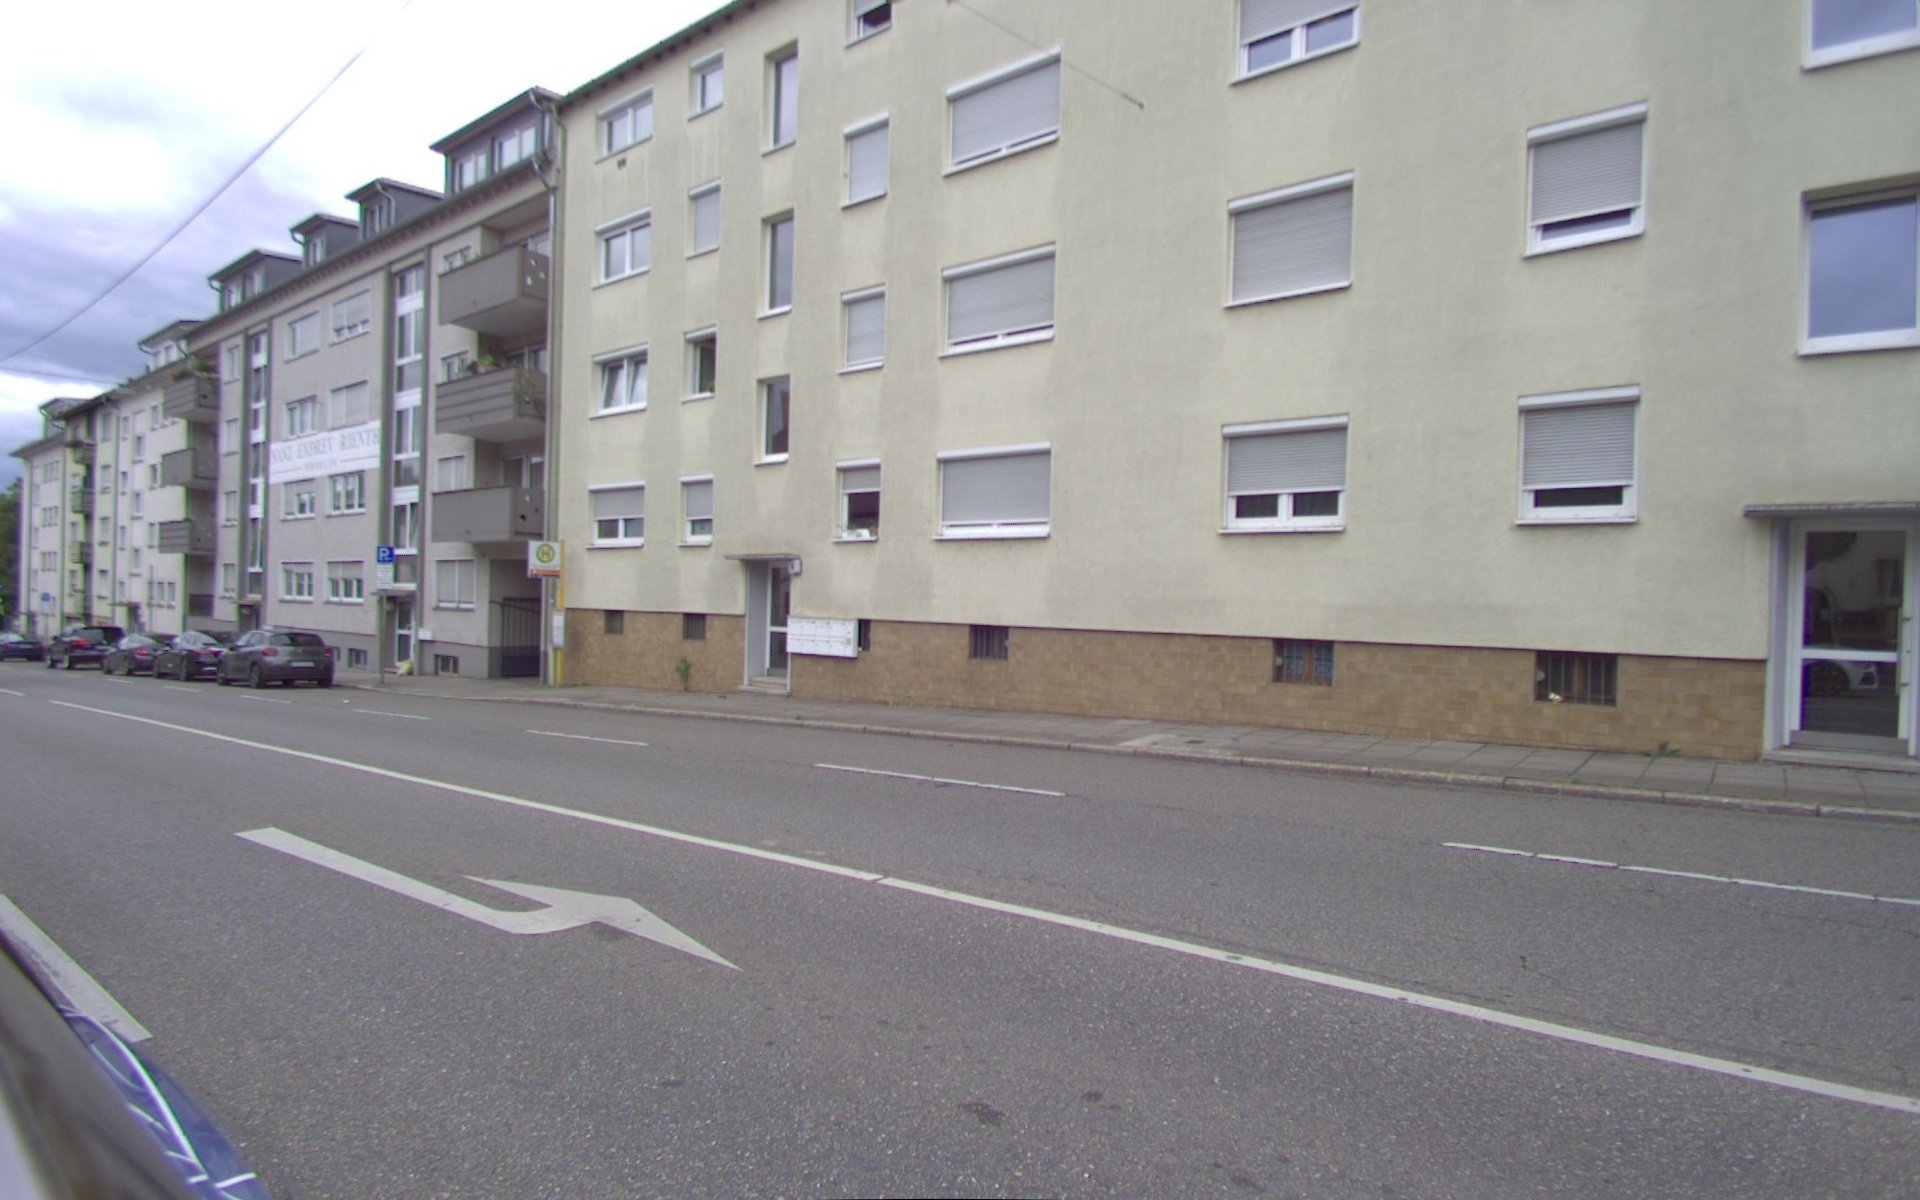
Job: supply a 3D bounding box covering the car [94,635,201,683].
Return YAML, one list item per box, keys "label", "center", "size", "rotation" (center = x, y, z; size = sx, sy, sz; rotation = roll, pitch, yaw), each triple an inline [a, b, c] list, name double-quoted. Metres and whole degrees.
- label: "car"
  center: [-26.476, 1.904, 32.950]
  size: [4.302, 1.416, 1.751]
  rotation: [-1, -4, 39]

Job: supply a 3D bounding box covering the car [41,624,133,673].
- label: "car"
  center: [-33.539, 1.853, 38.852]
  size: [4.302, 1.767, 1.852]
  rotation: [-1, -4, 39]

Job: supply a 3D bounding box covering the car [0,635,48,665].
- label: "car"
  center: [-46.434, 2.431, 49.717]
  size: [4.305, 1.391, 1.851]
  rotation: [-1, -4, 41]

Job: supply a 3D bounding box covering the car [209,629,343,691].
- label: "car"
  center: [-17.686, 1.524, 26.109]
  size: [3.797, 1.447, 1.751]
  rotation: [-1, -4, 39]

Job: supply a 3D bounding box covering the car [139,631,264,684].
- label: "car"
  center: [-22.182, 1.653, 29.529]
  size: [4.712, 1.416, 1.751]
  rotation: [-1, -4, 39]
